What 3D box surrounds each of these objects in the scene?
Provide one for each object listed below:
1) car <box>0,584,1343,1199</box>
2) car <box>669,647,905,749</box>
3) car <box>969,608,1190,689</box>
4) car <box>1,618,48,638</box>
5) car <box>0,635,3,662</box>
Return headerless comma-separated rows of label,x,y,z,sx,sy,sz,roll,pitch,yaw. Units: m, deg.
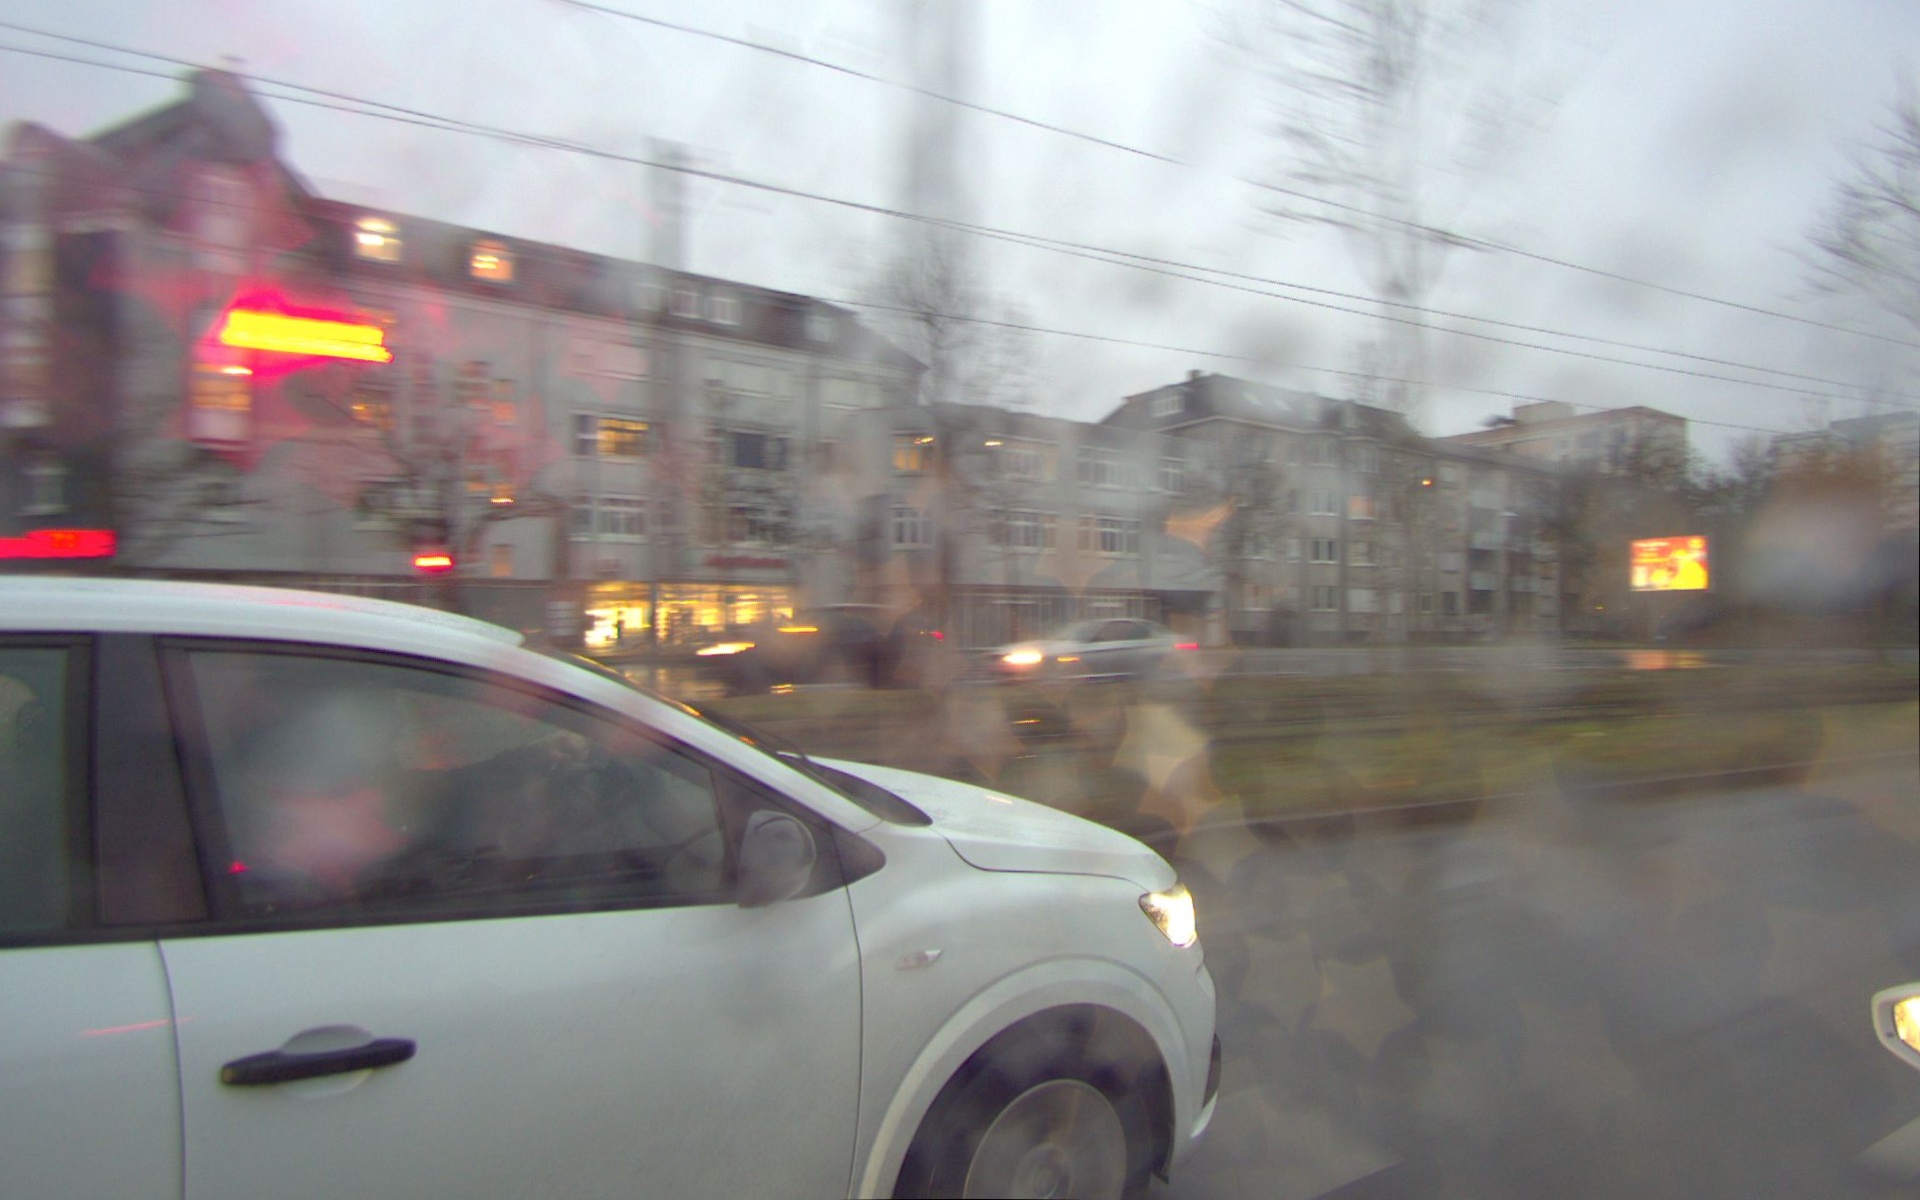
car,-1.218,0.741,2.146,3.954,1.485,1.700,2,-1,-31
car,-3.196,1.753,18.818,3.961,1.628,1.792,2,-1,-36
car,2.640,1.036,21.495,4.885,1.549,1.577,3,-1,-35
car,-69.248,2.049,74.384,1.665,1.365,3.508,2,-1,-28
car,-49.091,2.375,48.708,3.580,1.360,1.587,2,-1,-35
